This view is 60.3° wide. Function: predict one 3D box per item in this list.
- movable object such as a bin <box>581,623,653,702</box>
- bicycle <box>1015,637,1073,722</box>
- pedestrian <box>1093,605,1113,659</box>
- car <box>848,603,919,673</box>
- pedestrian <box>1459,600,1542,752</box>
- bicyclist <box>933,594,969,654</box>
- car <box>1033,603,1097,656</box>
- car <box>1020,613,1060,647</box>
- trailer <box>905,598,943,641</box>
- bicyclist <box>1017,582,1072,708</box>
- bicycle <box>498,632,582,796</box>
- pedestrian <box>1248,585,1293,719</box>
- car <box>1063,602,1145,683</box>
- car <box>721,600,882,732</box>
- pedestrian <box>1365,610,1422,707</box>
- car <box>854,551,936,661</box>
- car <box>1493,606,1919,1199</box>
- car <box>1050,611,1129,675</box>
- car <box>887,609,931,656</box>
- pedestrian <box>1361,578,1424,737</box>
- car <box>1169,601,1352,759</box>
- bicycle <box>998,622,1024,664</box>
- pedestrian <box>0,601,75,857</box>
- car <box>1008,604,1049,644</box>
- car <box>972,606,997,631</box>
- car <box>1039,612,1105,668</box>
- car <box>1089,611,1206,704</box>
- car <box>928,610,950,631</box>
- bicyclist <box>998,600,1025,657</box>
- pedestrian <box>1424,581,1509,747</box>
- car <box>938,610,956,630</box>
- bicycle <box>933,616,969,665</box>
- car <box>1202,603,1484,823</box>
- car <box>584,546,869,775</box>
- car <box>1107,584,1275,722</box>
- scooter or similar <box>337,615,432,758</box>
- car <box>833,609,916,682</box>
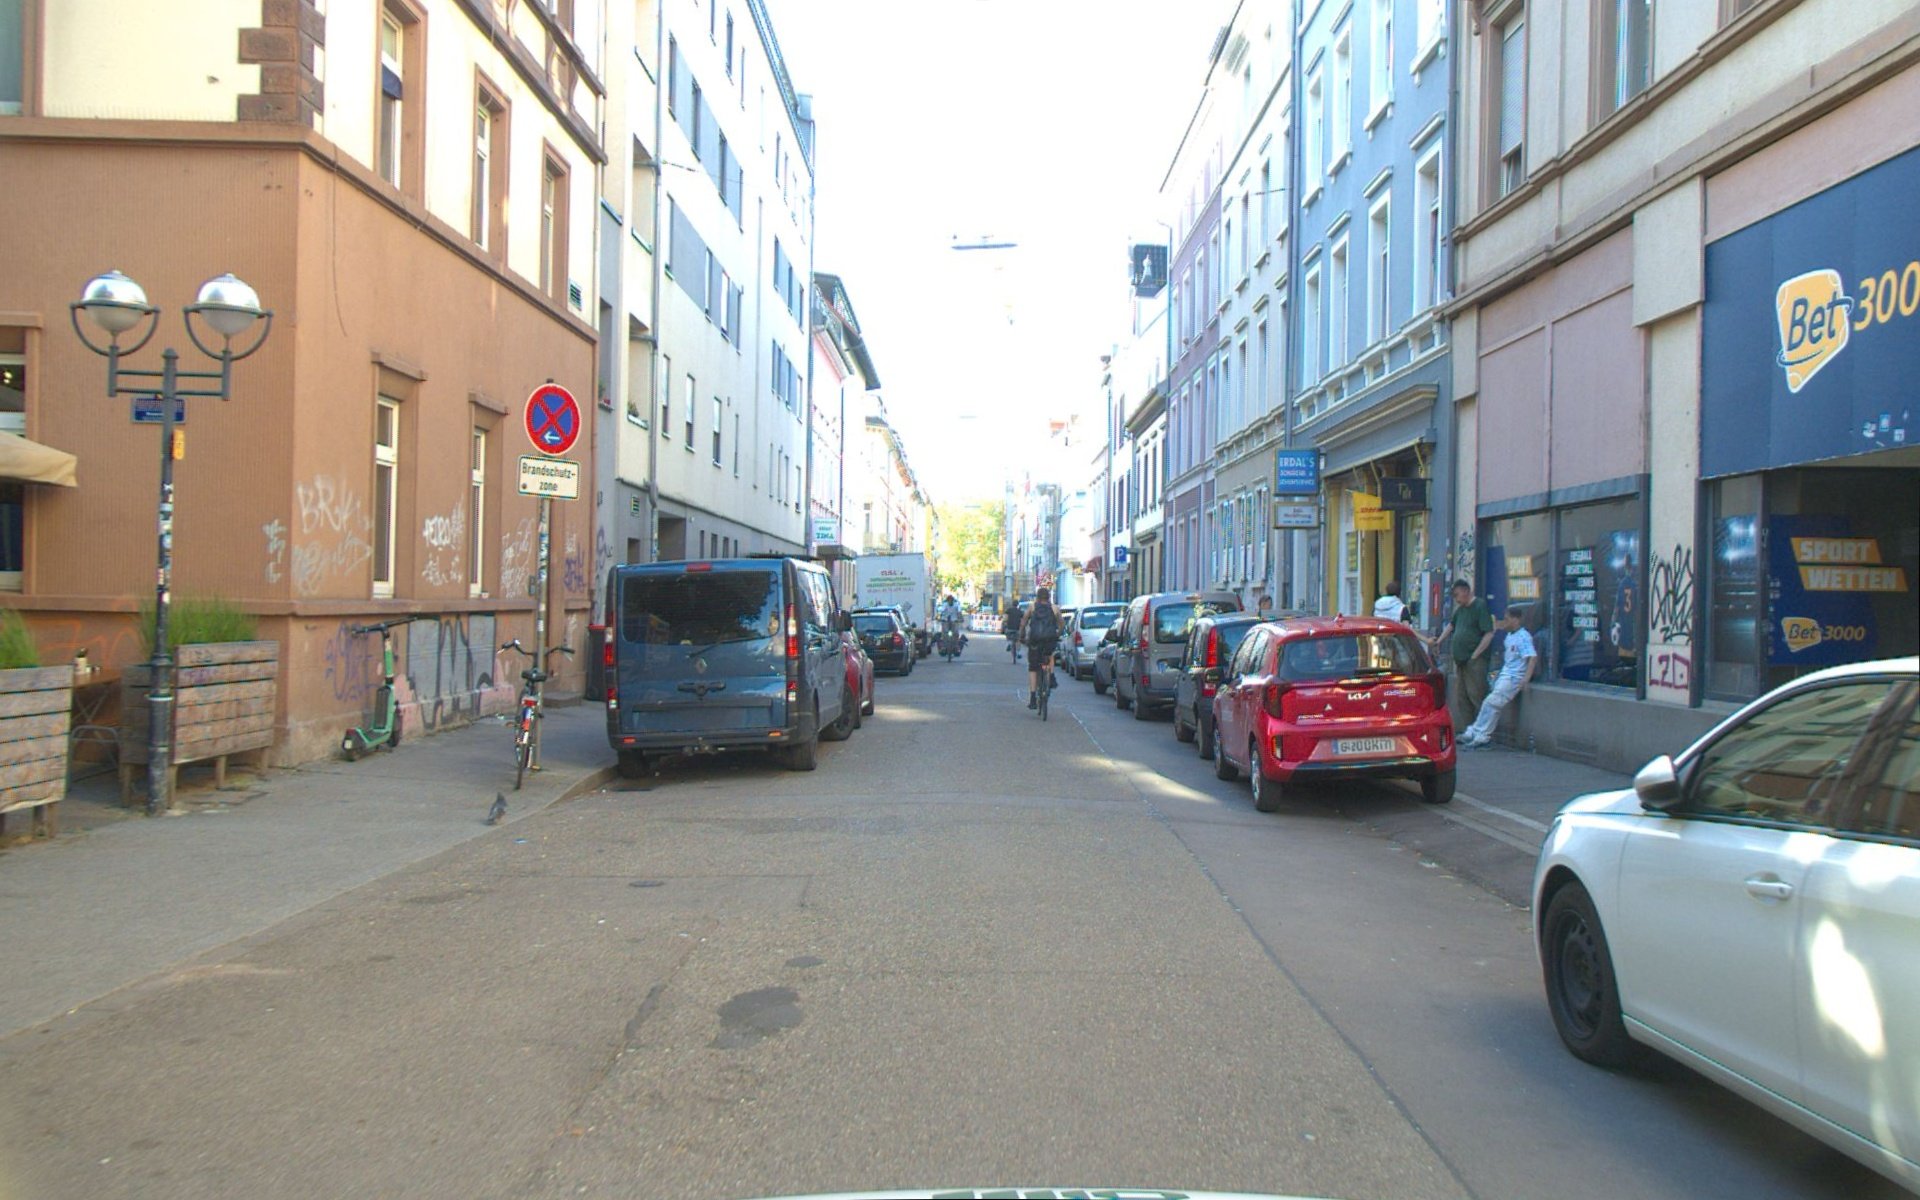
[{"bbox_3d":[-4.918,0.896,23.754,0.743,1.085,0.651,2,-1,20],"label":"movable object such as a bin"},{"bbox_3d":[1.156,1.080,23.036,0.663,1.093,1.941,2,-1,0],"label":"bicycle"},{"bbox_3d":[5.522,1.239,63.882,0.631,2.049,0.763,2,-1,0],"label":"pedestrian"},{"bbox_3d":[-2.006,0.975,44.209,1.682,1.679,4.245,-2,0,0],"label":"car"},{"bbox_3d":[5.689,0.793,17.430,0.576,1.556,0.658,2,-1,-5],"label":"pedestrian"},{"bbox_3d":[-0.246,0.673,46.583,0.930,1.656,0.953,-1,-1,2],"label":"bicyclist"},{"bbox_3d":[3.591,1.002,57.260,1.879,1.736,4.366,1,0,0],"label":"car"},{"bbox_3d":[3.645,1.362,75.824,1.714,1.513,3.800,0,-1,1],"label":"car"},{"bbox_3d":[-1.812,1.008,84.044,1.843,2.129,3.736,0,-1,0],"label":"trailer"},{"bbox_3d":[1.173,0.621,23.086,0.654,1.706,1.097,2,-1,0],"label":"bicyclist"},{"bbox_3d":[-3.537,0.909,13.841,0.541,1.238,1.979,2,-1,-17],"label":"bicycle"},{"bbox_3d":[4.128,0.685,22.017,0.432,1.734,0.654,2,-1,1],"label":"pedestrian"},{"bbox_3d":[3.291,0.967,38.307,1.525,1.742,3.558,2,-1,0],"label":"car"},{"bbox_3d":[-2.029,0.838,22.133,1.715,1.549,3.869,-2,-1,0],"label":"car"},{"bbox_3d":[5.707,0.768,21.770,0.522,1.244,0.512,1,-2,40],"label":"pedestrian"},{"bbox_3d":[-2.062,0.247,54.667,2.295,3.349,7.154,-1,-1,1],"label":"car"},{"bbox_3d":[3.073,0.827,4.515,1.751,1.542,4.134,2,-1,-2],"label":"car"},{"bbox_3d":[3.318,1.100,43.166,1.662,1.571,4.628,-1,-1,0],"label":"car"},{"bbox_3d":[-2.105,1.350,68.746,1.717,1.848,4.077,-1,-1,-1],"label":"car"},{"bbox_3d":[4.925,0.654,18.861,0.549,1.771,0.427,2,-1,-2],"label":"pedestrian"},{"bbox_3d":[3.327,0.862,18.844,1.537,1.584,3.314,-2,-1,2],"label":"car"},{"bbox_3d":[1.455,1.208,47.135,0.635,1.149,2.135,2,-1,0],"label":"bicycle"},{"bbox_3d":[-5.830,0.742,9.878,0.691,1.471,0.617,2,-1,-1],"label":"pedestrian"},{"bbox_3d":[3.342,1.186,80.891,1.715,1.912,3.970,0,-1,-2],"label":"car"},{"bbox_3d":[1.692,1.294,114.551,1.578,1.587,3.610,2,-1,0],"label":"car"},{"bbox_3d":[3.275,1.180,49.043,1.652,1.571,4.045,-1,-1,0],"label":"car"},{"bbox_3d":[3.356,1.006,30.133,1.521,1.537,3.610,2,-1,-2],"label":"car"},{"bbox_3d":[-1.740,1.690,137.620,1.714,1.713,3.795,0,-1,0],"label":"car"},{"bbox_3d":[1.466,0.812,47.173,0.657,1.595,0.716,2,-1,-2],"label":"bicyclist"},{"bbox_3d":[5.556,0.694,18.167,0.617,1.771,0.657,2,-1,-13],"label":"pedestrian"},{"bbox_3d":[-1.199,1.852,154.986,1.714,1.853,3.795,0,-1,0],"label":"car"},{"bbox_3d":[-0.236,1.132,46.850,0.957,1.337,2.555,0,0,1],"label":"bicycle"},{"bbox_3d":[3.160,0.884,14.293,1.574,1.600,3.553,2,-1,0],"label":"car"},{"bbox_3d":[-2.173,0.532,16.993,1.979,1.912,5.297,2,0,2],"label":"car"},{"bbox_3d":[3.361,0.763,24.857,1.860,1.825,4.314,2,-1,0],"label":"car"},{"bbox_3d":[-5.242,0.766,15.124,0.340,1.238,1.391,2,-1,0],"label":"scooter or similar"},{"bbox_3d":[-1.931,1.002,38.341,1.682,1.504,4.498,-2,0,0],"label":"car"}]
